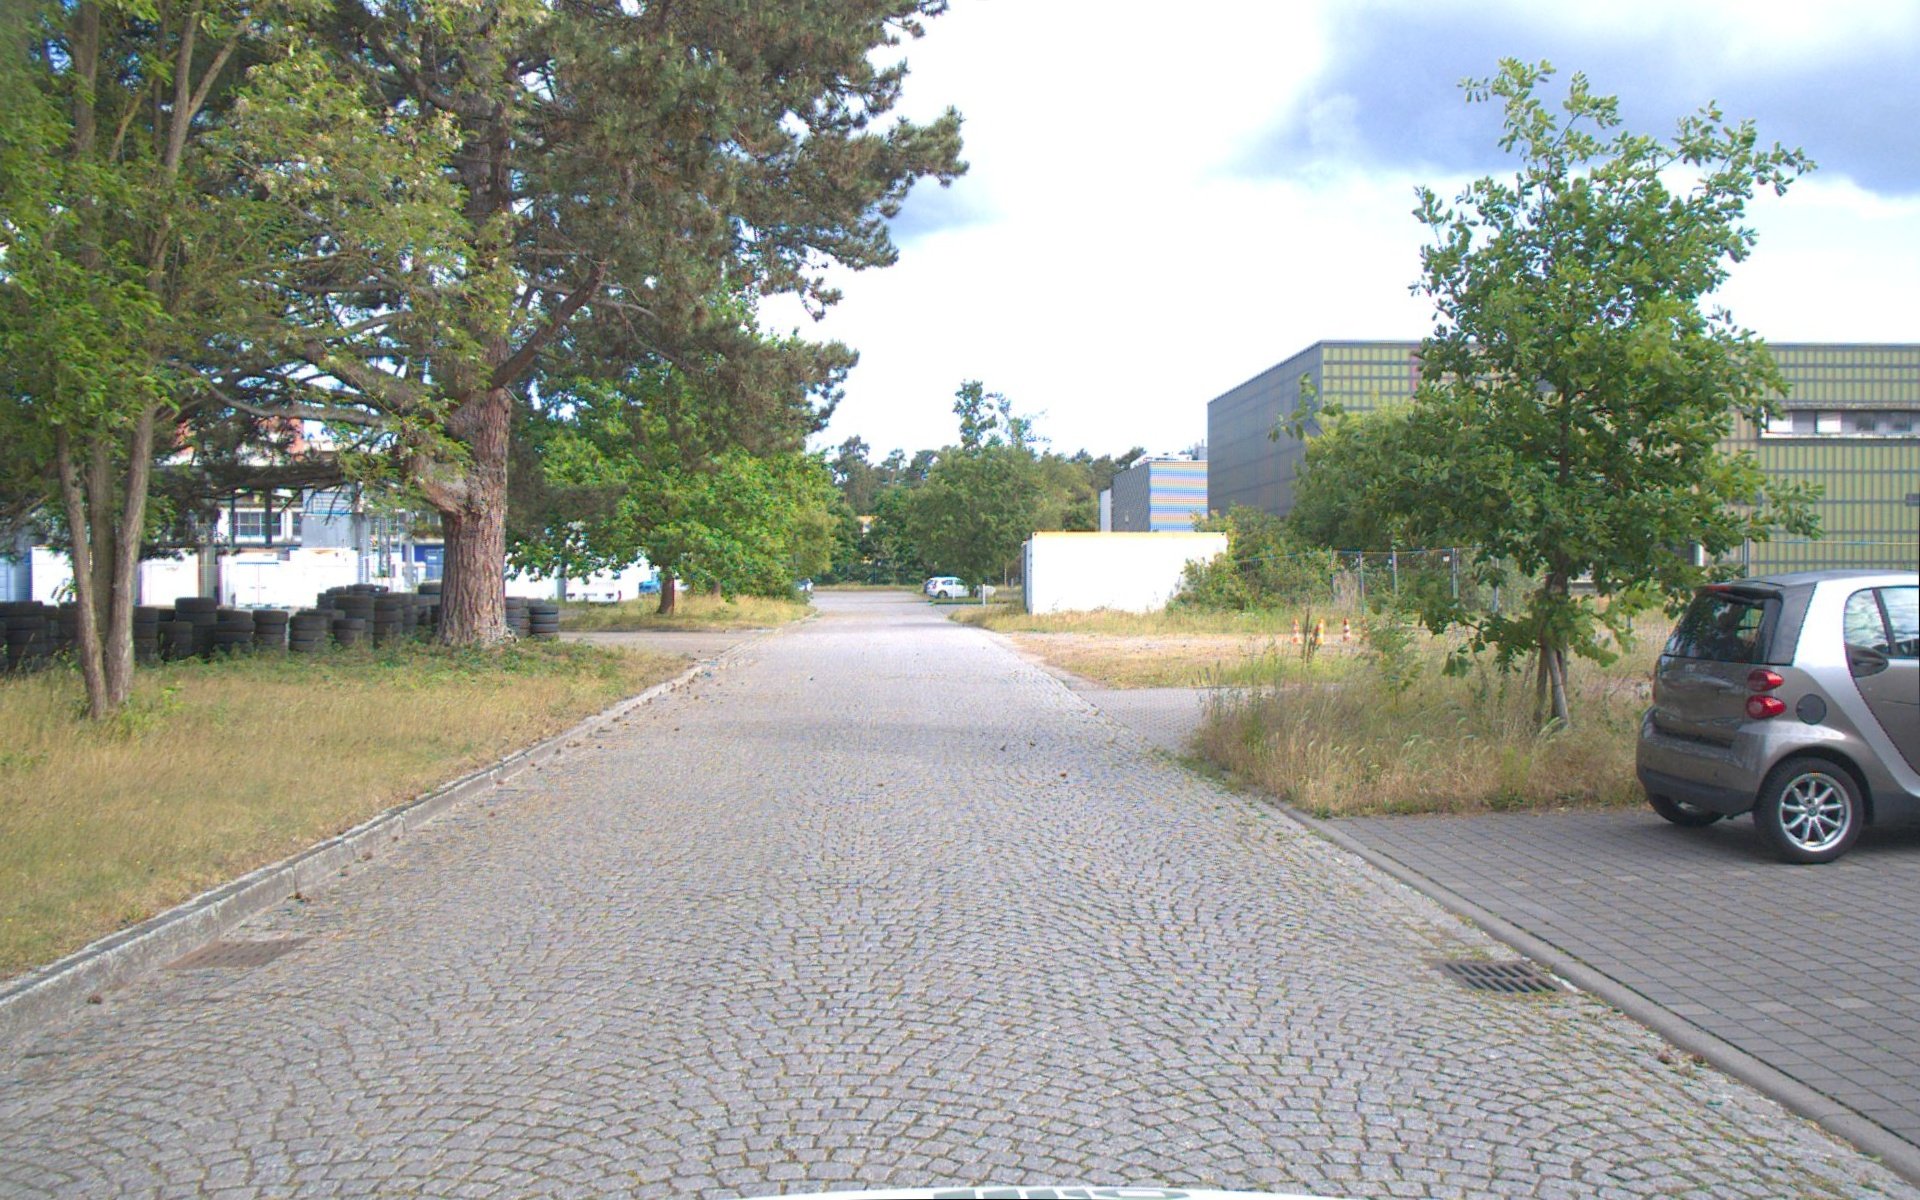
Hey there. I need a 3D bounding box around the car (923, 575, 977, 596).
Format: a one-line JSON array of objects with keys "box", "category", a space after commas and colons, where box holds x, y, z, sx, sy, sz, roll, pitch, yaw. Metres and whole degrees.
[{"box": [-0.738, -1.067, 122.112, 3.907, 1.481, 1.769, 0, 1, -3], "category": "car"}]

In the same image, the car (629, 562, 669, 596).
[{"box": [-24.011, -1.609, 127.989, 1.952, 2.567, 5.618, 0, 1, 0], "category": "car"}]

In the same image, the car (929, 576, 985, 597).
[{"box": [-0.242, -0.941, 116.926, 3.907, 1.481, 1.999, 0, 0, -3], "category": "car"}]

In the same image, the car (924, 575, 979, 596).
[{"box": [-0.641, -1.032, 119.074, 3.907, 1.481, 1.696, 0, 1, -3], "category": "car"}]

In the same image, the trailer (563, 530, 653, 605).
[{"box": [-18.709, -1.716, 88.684, 2.602, 3.770, 10.720, 0, 1, -1], "category": "trailer"}]

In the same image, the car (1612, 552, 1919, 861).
[{"box": [5.594, 0.538, 9.866, 2.686, 1.609, 1.682, -2, 1, -3], "category": "car"}]

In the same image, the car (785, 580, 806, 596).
[{"box": [-13.932, -1.034, 140.159, 1.715, 1.387, 3.996, 0, 1, -5], "category": "car"}]
